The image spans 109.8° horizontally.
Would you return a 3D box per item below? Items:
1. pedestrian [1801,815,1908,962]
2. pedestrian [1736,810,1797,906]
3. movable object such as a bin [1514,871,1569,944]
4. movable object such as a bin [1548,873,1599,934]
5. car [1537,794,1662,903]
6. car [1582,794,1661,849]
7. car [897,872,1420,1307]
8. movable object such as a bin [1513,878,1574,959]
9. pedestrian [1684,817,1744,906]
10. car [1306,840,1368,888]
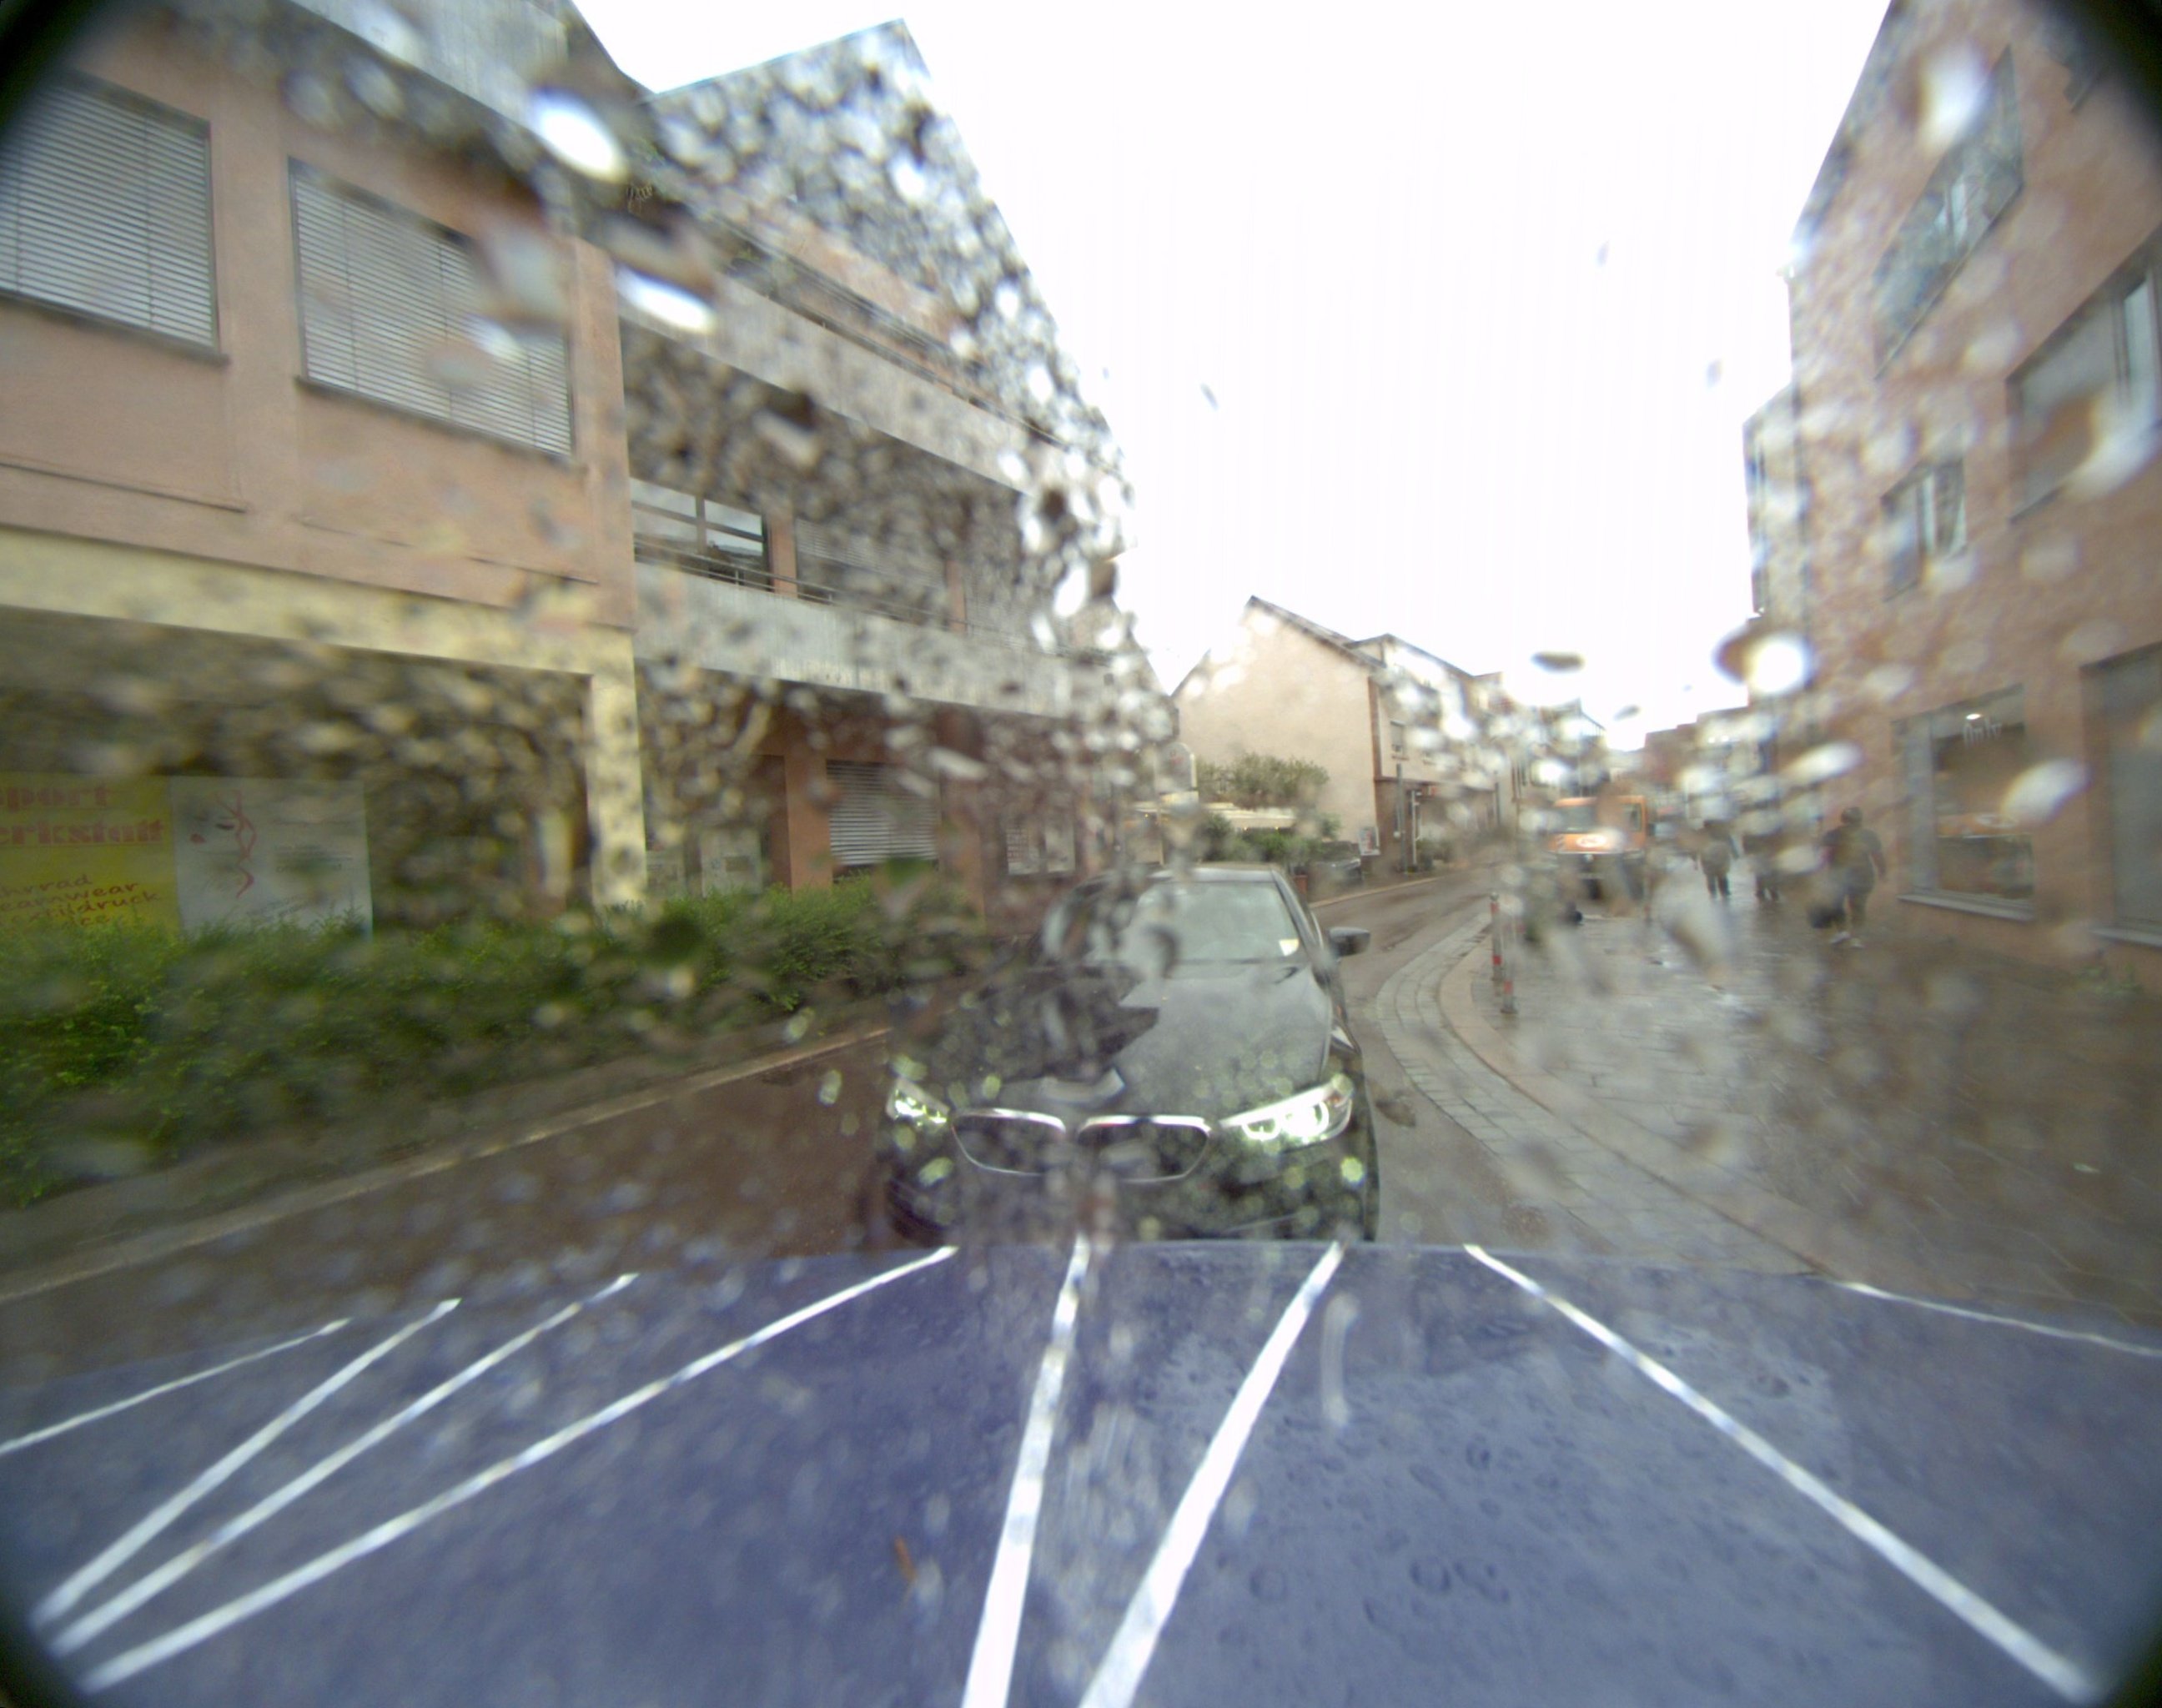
[{"bbox_3d":[8.849,0.381,8.722,0.660,1.600,0.685,-3,1,30],"label":"pedestrian"},{"bbox_3d":[12.673,0.072,14.068,0.623,1.702,0.810,-4,0,33],"label":"pedestrian"},{"bbox_3d":[7.005,0.806,11.568,0.657,1.031,0.611,-2,1,31],"label":"movable object such as a bin"},{"bbox_3d":[7.950,0.802,12.272,0.582,0.921,0.482,-4,0,41],"label":"movable object such as a bin"},{"bbox_3d":[12.709,-0.201,18.419,1.994,2.227,5.872,-2,1,39],"label":"car"},{"bbox_3d":[32.187,-1.877,45.064,2.705,2.857,8.861,-3,0,42],"label":"car"},{"bbox_3d":[0.679,0.955,5.101,1.945,1.394,4.423,-3,1,11],"label":"car"},{"bbox_3d":[6.350,0.878,10.444,0.657,1.031,0.611,-3,1,31],"label":"movable object such as a bin"},{"bbox_3d":[12.041,0.141,14.476,0.715,1.630,0.747,-4,0,33],"label":"pedestrian"},{"bbox_3d":[8.416,0.272,25.051,1.735,1.349,3.941,-3,1,18],"label":"car"}]
